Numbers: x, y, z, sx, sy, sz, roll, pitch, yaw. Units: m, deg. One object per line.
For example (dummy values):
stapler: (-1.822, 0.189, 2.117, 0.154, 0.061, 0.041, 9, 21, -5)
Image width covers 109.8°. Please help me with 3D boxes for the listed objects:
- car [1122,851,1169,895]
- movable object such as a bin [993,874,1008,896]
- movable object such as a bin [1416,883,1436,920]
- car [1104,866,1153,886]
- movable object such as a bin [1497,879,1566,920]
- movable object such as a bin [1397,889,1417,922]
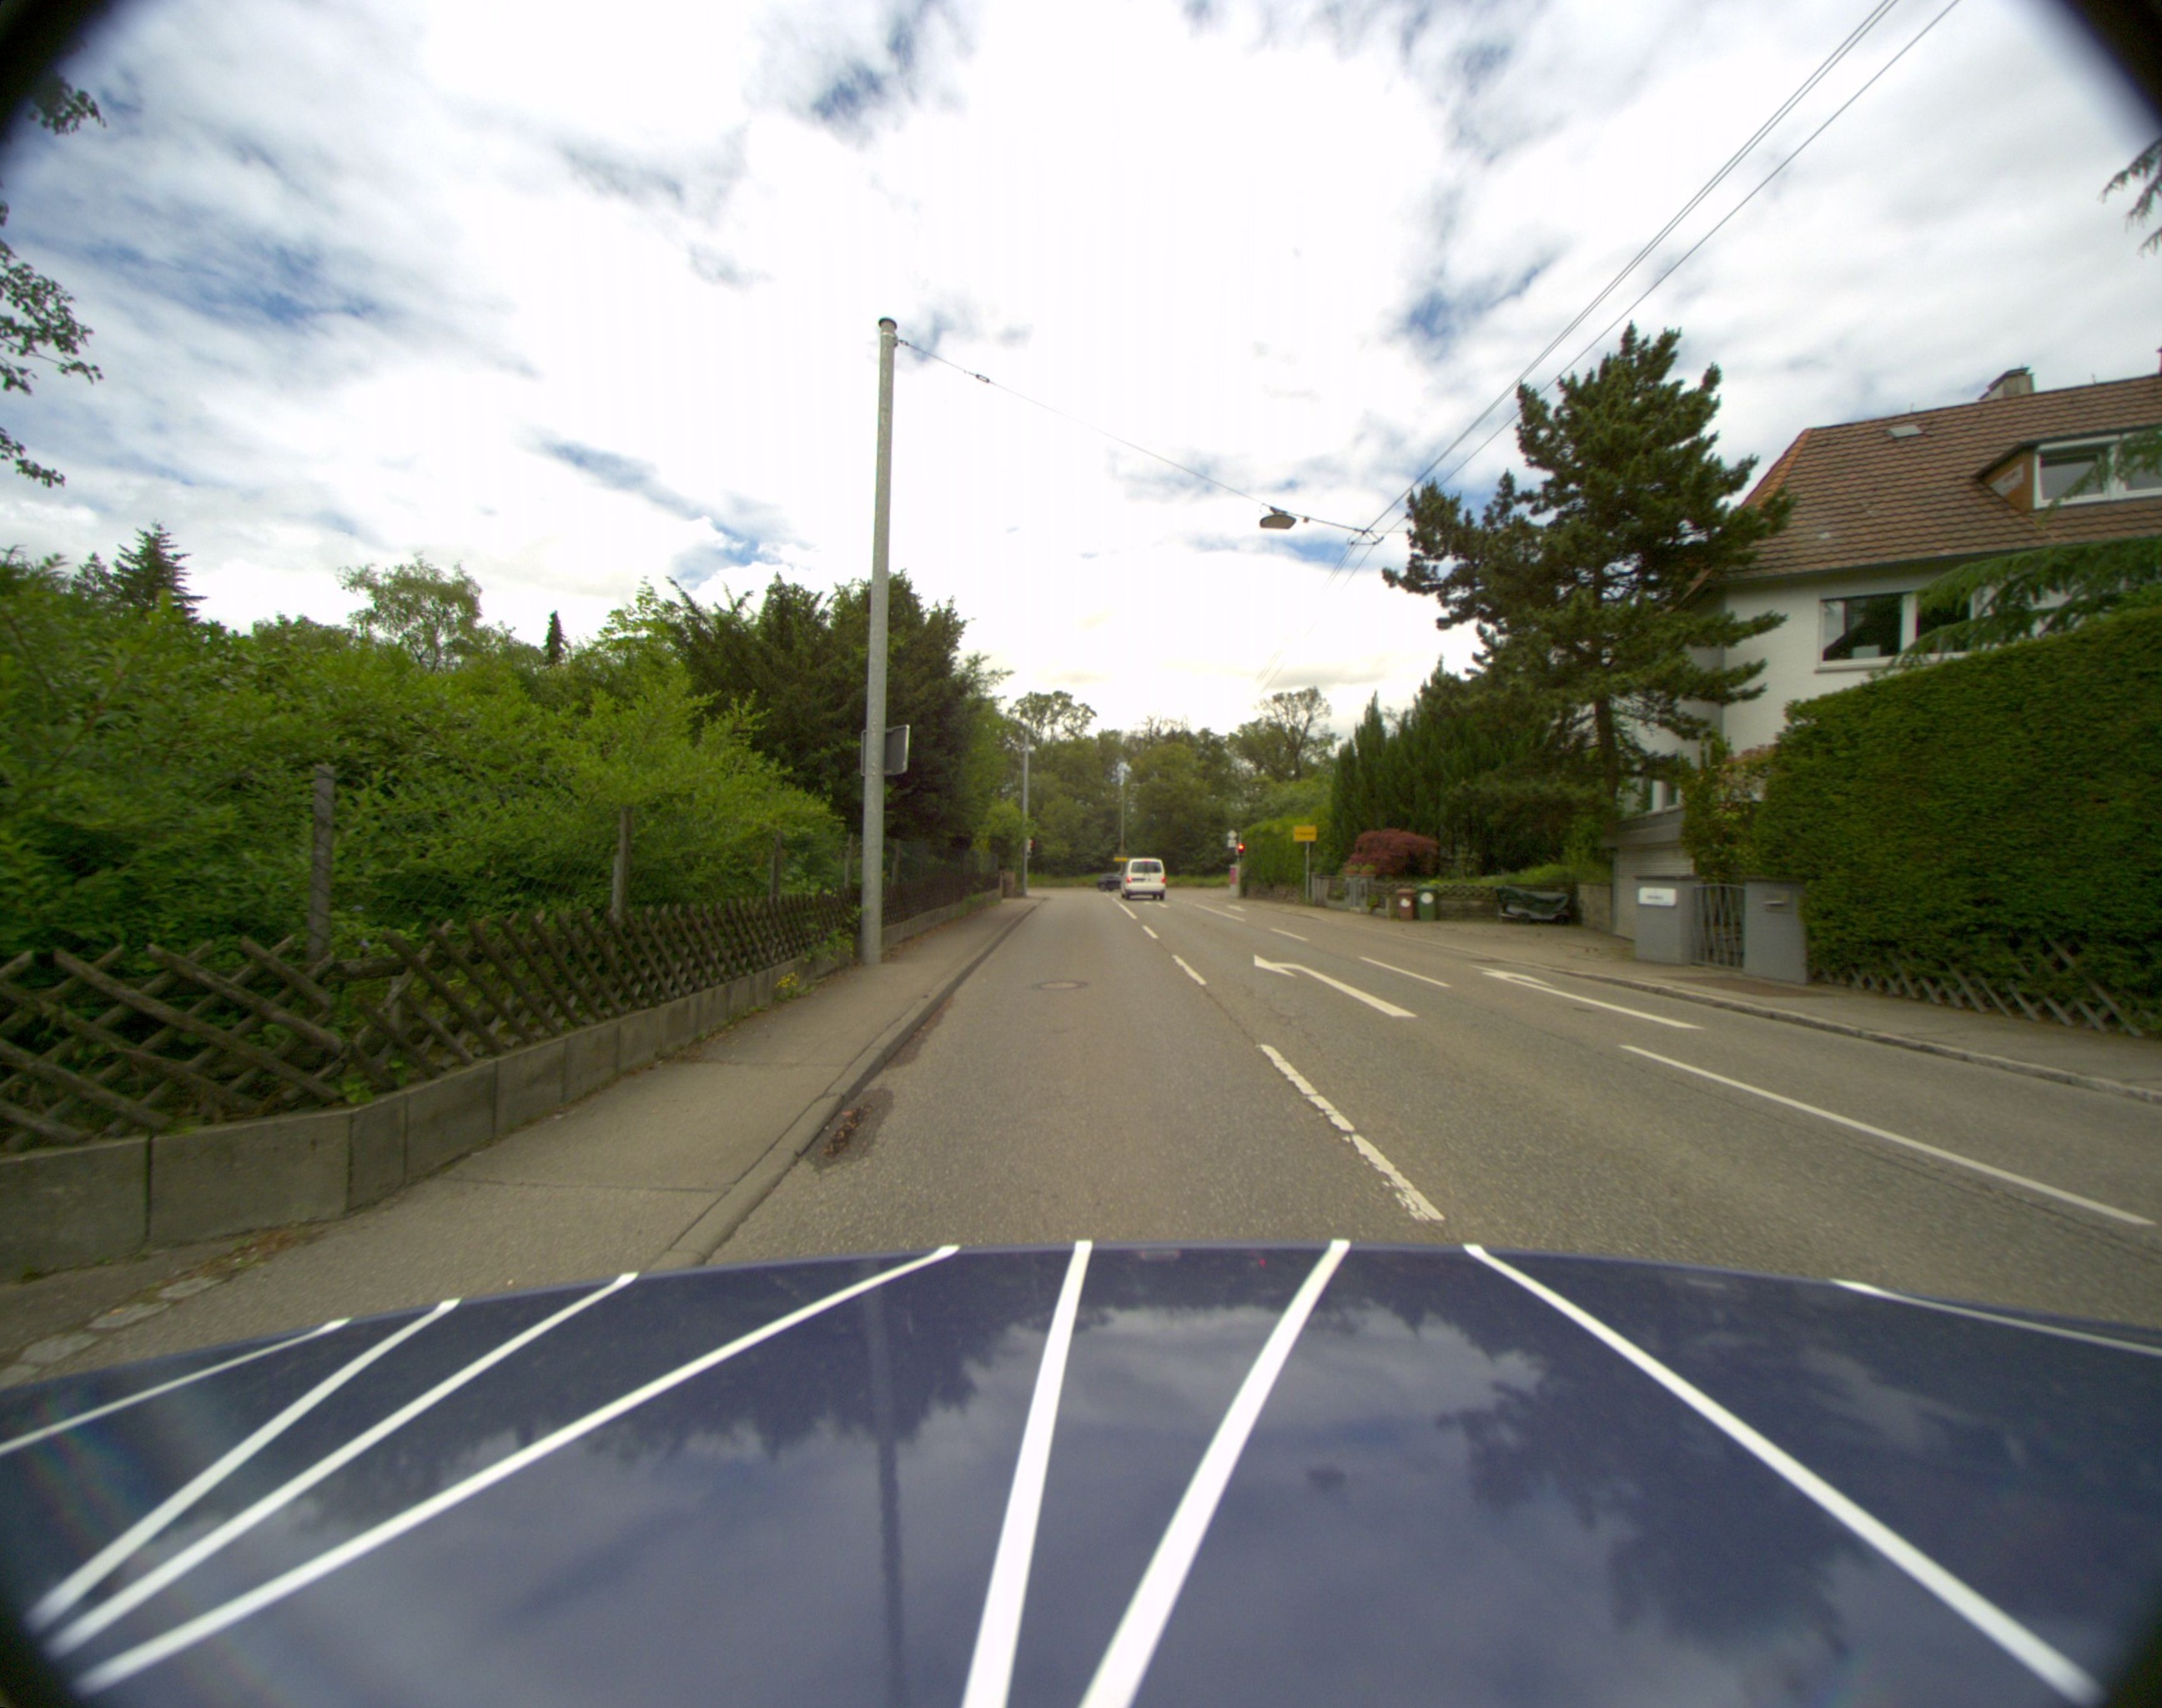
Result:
car: (3.113, 0.927, 37.760, 1.863, 2.035, 5.172, 1, -1, 0)
movable object such as a bin: (-3.857, 1.503, 36.413, 0.541, 1.039, 0.508, 3, -2, -27)
movable object such as a bin: (10.031, 1.362, 22.101, 0.479, 1.028, 0.718, 0, 0, 29)
car: (3.941, 1.800, 63.008, 3.656, 1.585, 1.667, 0, -1, 24)
movable object such as a bin: (12.217, 1.216, 20.620, 1.593, 1.074, 0.718, -1, 0, 32)
movable object such as a bin: (9.605, 1.508, 22.363, 0.464, 0.936, 0.648, 0, 0, 29)
